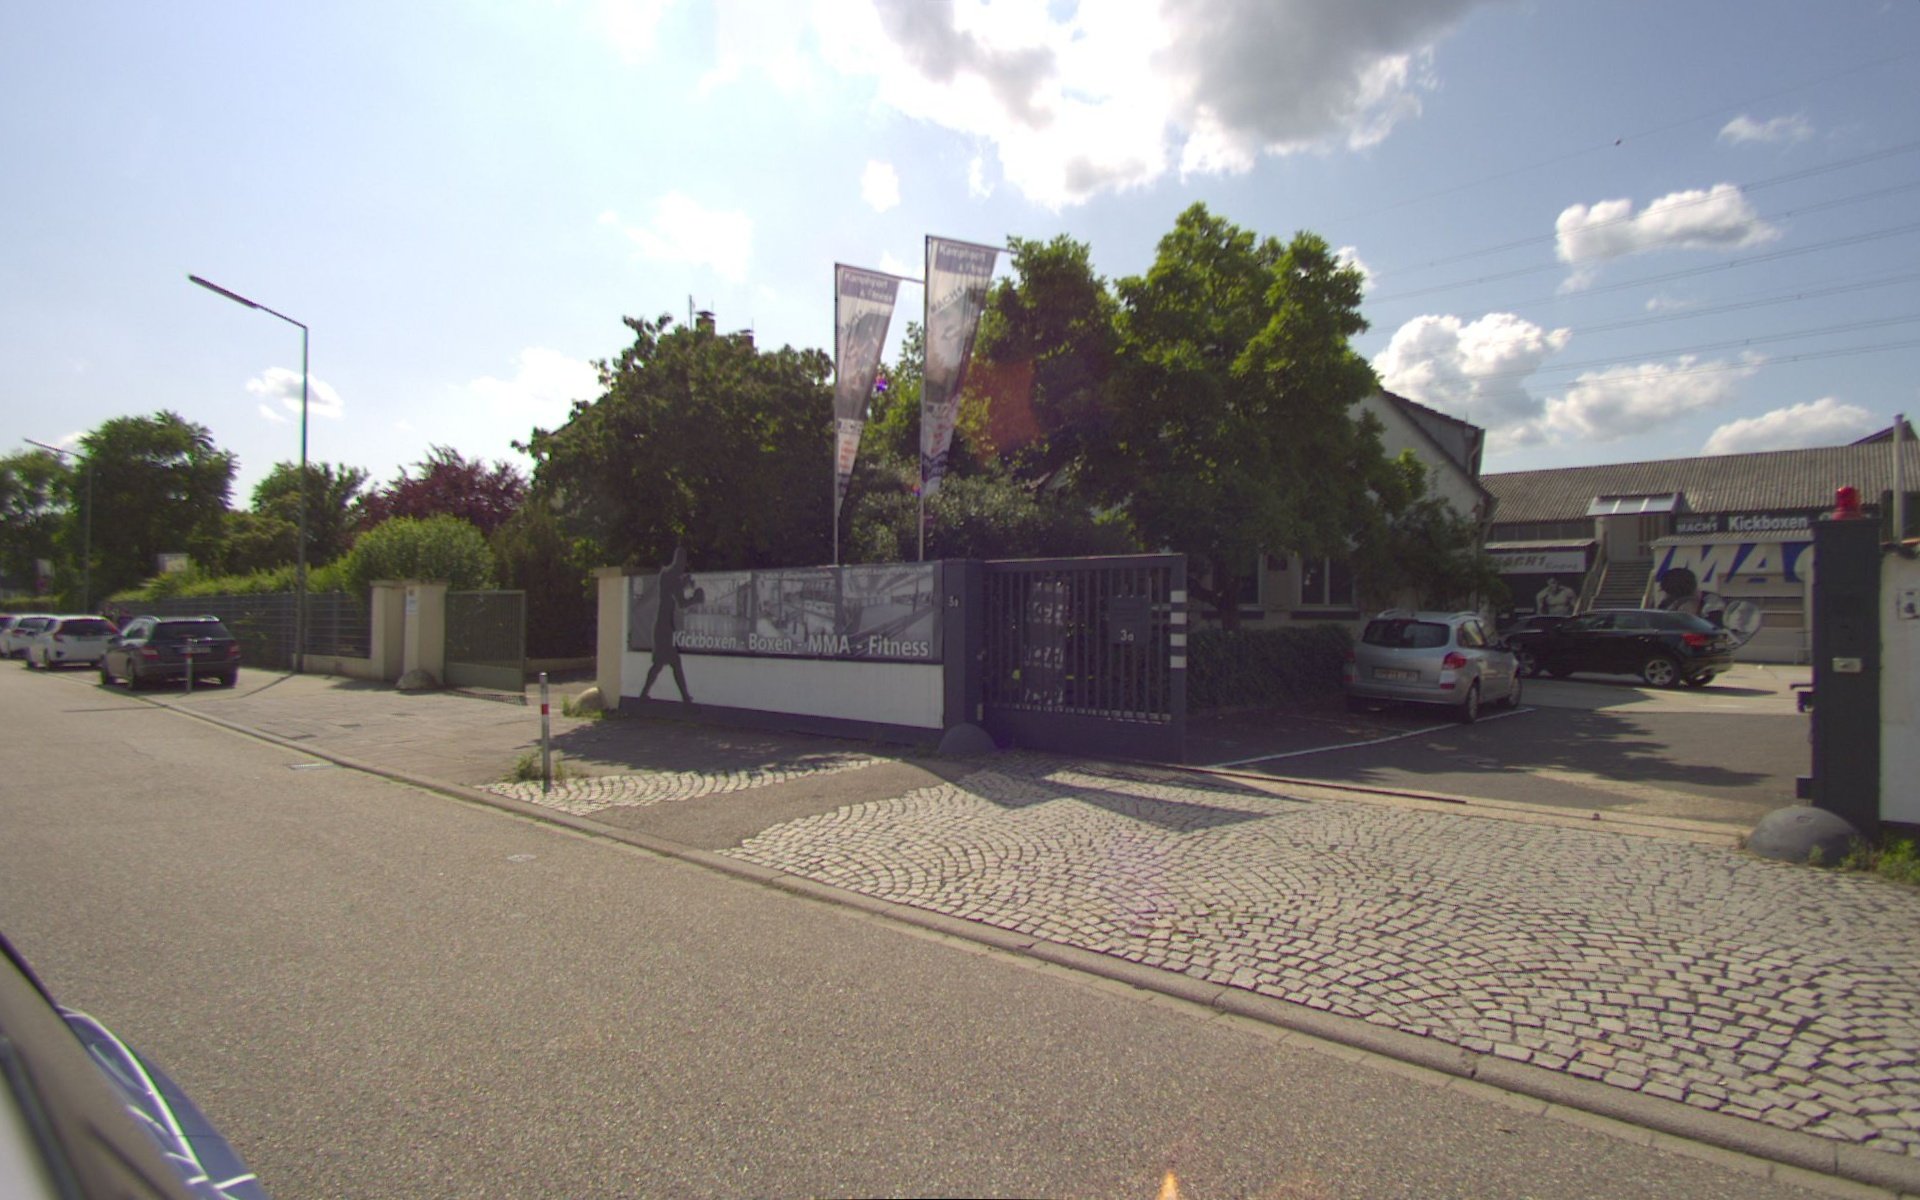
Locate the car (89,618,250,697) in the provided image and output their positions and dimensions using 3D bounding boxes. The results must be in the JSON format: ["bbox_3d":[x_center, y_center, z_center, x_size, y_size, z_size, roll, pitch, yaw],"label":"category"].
[{"bbox_3d":[-16.556,1.117,21.123,4.493,1.429,1.787,-1,0,40],"label":"car"}]

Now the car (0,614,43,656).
[{"bbox_3d":[-36.292,1.307,38.574,3.743,1.478,1.648,0,0,42],"label":"car"}]

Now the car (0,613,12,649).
[{"bbox_3d":[-45.220,1.449,46.783,3.270,1.658,1.634,-1,1,39],"label":"car"}]

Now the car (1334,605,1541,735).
[{"bbox_3d":[7.145,0.908,14.953,1.849,1.574,3.874,2,1,39],"label":"car"}]

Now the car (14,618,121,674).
[{"bbox_3d":[-25.871,1.291,29.290,4.170,1.534,1.604,-1,-2,39],"label":"car"}]

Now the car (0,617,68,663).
[{"bbox_3d":[-32.637,1.374,35.395,4.027,1.488,1.628,0,-2,41],"label":"car"}]

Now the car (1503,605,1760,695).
[{"bbox_3d":[13.518,0.926,20.609,1.861,1.580,3.938,1,0,-31],"label":"car"}]

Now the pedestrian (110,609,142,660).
[{"bbox_3d":[-29.866,1.231,36.239,0.915,1.814,0.700,0,-2,41],"label":"pedestrian"}]

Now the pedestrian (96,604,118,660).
[{"bbox_3d":[-29.909,1.117,35.494,0.677,1.908,0.446,0,-2,41],"label":"pedestrian"}]
